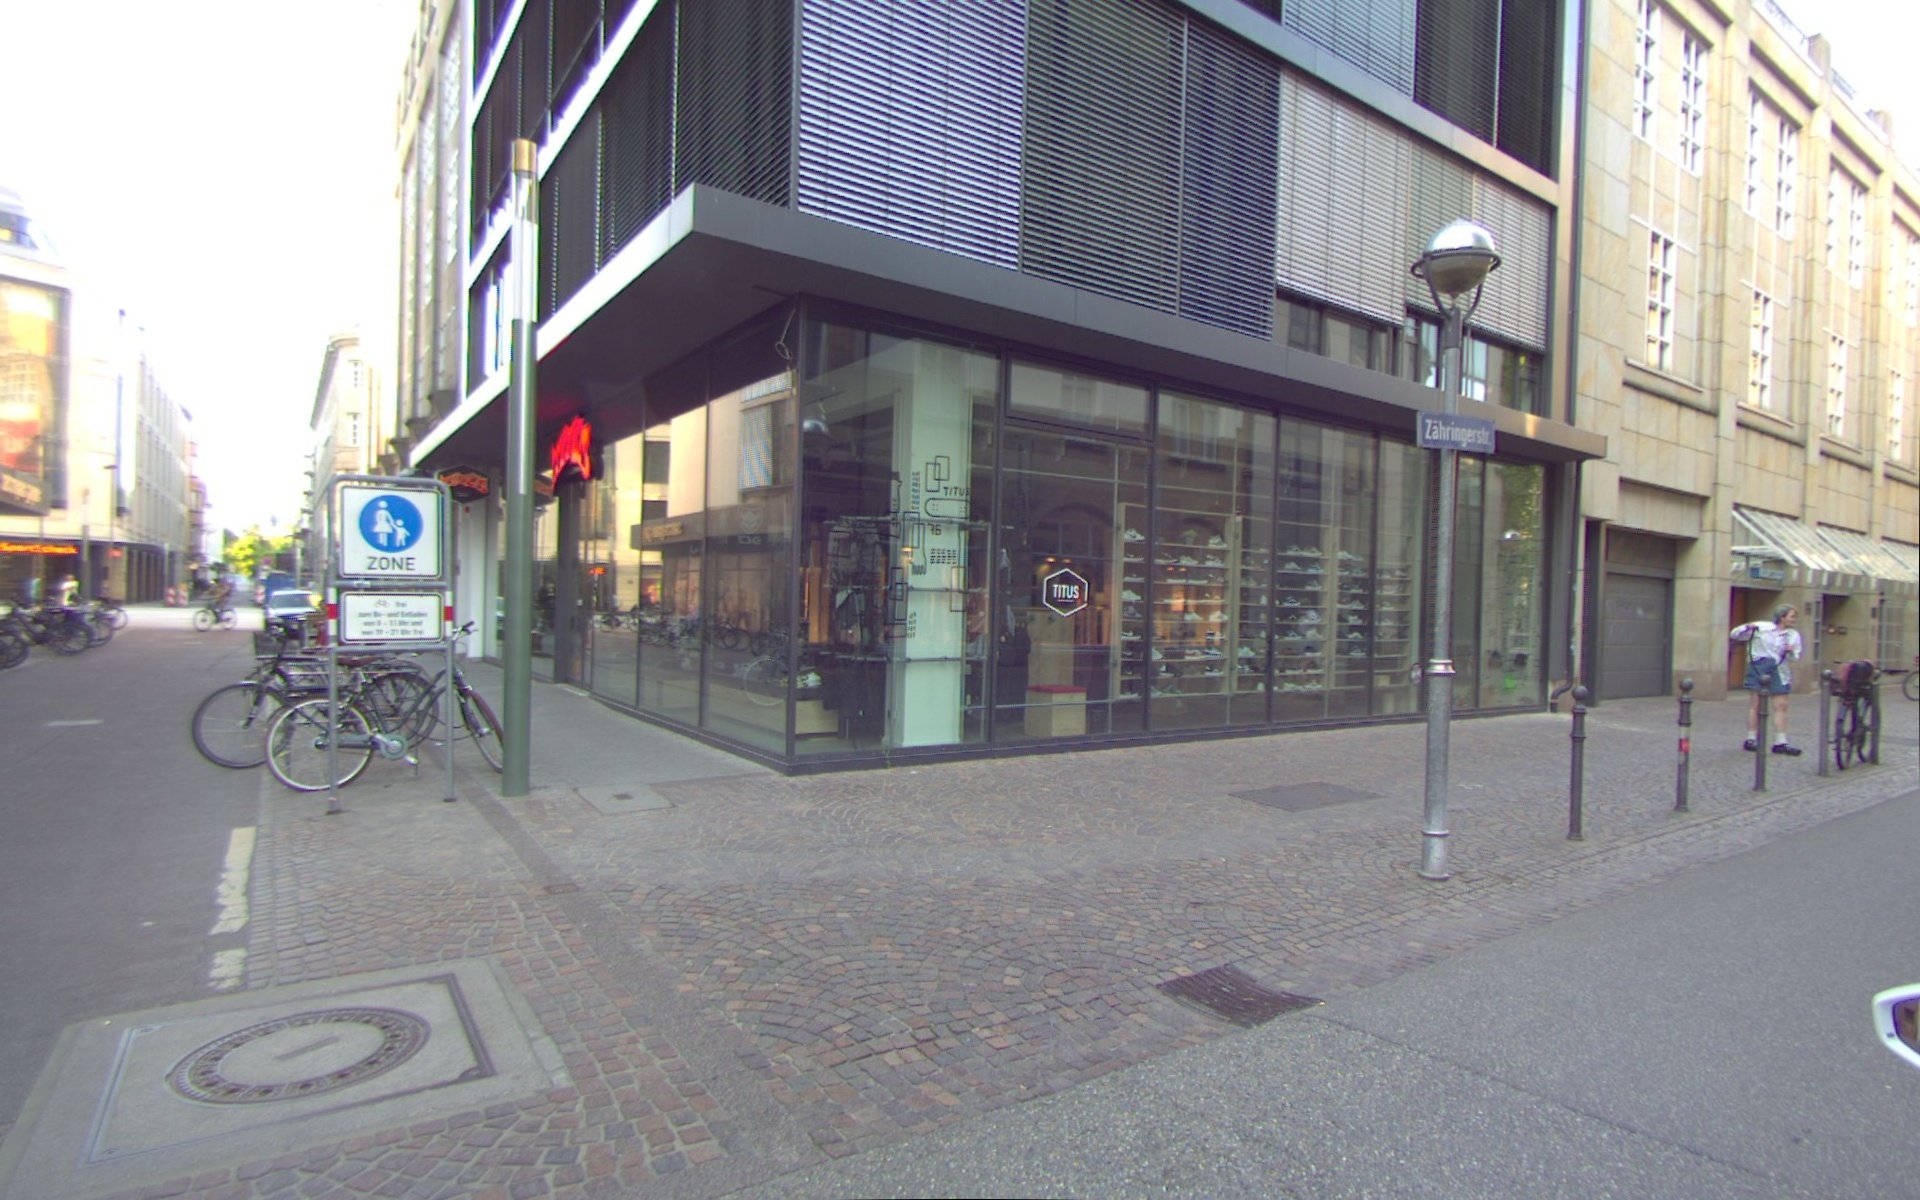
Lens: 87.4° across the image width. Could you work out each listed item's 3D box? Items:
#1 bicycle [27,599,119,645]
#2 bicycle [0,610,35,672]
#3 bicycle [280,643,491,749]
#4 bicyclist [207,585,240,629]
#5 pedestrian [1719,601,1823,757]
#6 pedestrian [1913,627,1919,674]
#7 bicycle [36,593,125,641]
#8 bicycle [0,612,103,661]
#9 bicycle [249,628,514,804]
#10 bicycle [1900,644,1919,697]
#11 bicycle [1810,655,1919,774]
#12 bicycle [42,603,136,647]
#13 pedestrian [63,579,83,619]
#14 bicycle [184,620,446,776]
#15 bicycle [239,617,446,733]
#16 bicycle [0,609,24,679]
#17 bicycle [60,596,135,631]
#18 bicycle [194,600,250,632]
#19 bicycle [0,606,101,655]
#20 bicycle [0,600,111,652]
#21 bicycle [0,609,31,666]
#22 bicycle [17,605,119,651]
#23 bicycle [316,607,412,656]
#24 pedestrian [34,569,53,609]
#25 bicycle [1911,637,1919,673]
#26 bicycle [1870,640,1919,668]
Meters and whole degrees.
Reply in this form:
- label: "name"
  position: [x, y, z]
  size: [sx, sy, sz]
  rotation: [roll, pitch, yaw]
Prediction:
- label: "bicycle"
  position: [-22.939, 0.569, 26.009]
  size: [1.717, 1.161, 0.461]
  rotation: [1, 0, -37]
- label: "bicycle"
  position: [-16.916, 0.694, 17.188]
  size: [1.541, 1.051, 0.461]
  rotation: [1, 0, -37]
- label: "bicycle"
  position: [-5.660, 0.916, 9.963]
  size: [1.776, 0.907, 0.449]
  rotation: [0, 1, -37]
- label: "bicyclist"
  position: [-24.860, 0.227, 33.919]
  size: [0.563, 1.467, 0.736]
  rotation: [1, 1, 0]
- label: "pedestrian"
  position: [9.539, 0.901, 11.826]
  size: [0.586, 1.741, 0.762]
  rotation: [1, 2, -36]
- label: "pedestrian"
  position: [30.596, 1.597, 31.825]
  size: [0.468, 1.491, 0.413]
  rotation: [1, 0, 33]
- label: "bicycle"
  position: [-23.391, 0.460, 26.750]
  size: [1.717, 1.245, 0.461]
  rotation: [1, 0, -37]
- label: "bicycle"
  position: [-19.085, 0.755, 20.848]
  size: [1.926, 0.969, 0.461]
  rotation: [2, 0, -37]
- label: "bicycle"
  position: [-4.313, 0.800, 7.535]
  size: [1.658, 1.128, 0.702]
  rotation: [0, 1, -36]
- label: "bicycle"
  position: [21.857, 1.575, 22.428]
  size: [1.737, 1.153, 0.521]
  rotation: [1, 0, -20]
- label: "bicycle"
  position: [10.107, 1.227, 11.143]
  size: [1.895, 1.169, 0.529]
  rotation: [2, 2, -35]
- label: "bicycle"
  position: [-21.796, 0.627, 25.171]
  size: [1.717, 1.065, 0.461]
  rotation: [1, 0, -37]
- label: "pedestrian"
  position: [-36.092, -0.038, 40.875]
  size: [0.372, 1.594, 0.478]
  rotation: [1, 0, 4]
- label: "bicycle"
  position: [-5.455, 0.776, 8.583]
  size: [1.824, 1.165, 0.603]
  rotation: [0, 1, -36]
- label: "bicycle"
  position: [-6.722, 0.777, 10.991]
  size: [1.893, 1.160, 0.551]
  rotation: [0, 1, -37]
- label: "bicycle"
  position: [-15.907, 0.685, 15.750]
  size: [1.712, 1.106, 0.543]
  rotation: [1, 0, -37]
- label: "bicycle"
  position: [-26.989, 0.433, 31.466]
  size: [1.717, 1.076, 0.432]
  rotation: [1, 0, -37]
- label: "bicycle"
  position: [-24.862, 0.527, 33.861]
  size: [0.572, 1.028, 1.793]
  rotation: [1, 0, 0]
- label: "bicycle"
  position: [-19.845, 0.667, 21.782]
  size: [1.778, 1.021, 0.526]
  rotation: [1, 0, -37]
- label: "bicycle"
  position: [-20.658, 0.598, 22.984]
  size: [1.831, 1.151, 0.461]
  rotation: [1, 0, -37]
- label: "bicycle"
  position: [-17.794, 0.679, 18.129]
  size: [1.442, 1.019, 0.461]
  rotation: [1, 0, -37]
- label: "bicycle"
  position: [-21.340, 0.679, 24.072]
  size: [1.760, 1.065, 0.461]
  rotation: [1, 0, -37]
- label: "bicycle"
  position: [-13.012, 0.670, 21.966]
  size: [1.776, 1.028, 0.364]
  rotation: [0, 1, -37]
- label: "pedestrian"
  position: [-36.373, -0.421, 39.860]
  size: [0.428, 1.573, 0.476]
  rotation: [1, 0, 39]
- label: "bicycle"
  position: [34.355, 1.941, 34.918]
  size: [1.807, 1.241, 0.533]
  rotation: [0, -1, 32]
- label: "bicycle"
  position: [37.492, 2.144, 39.987]
  size: [1.799, 1.056, 0.533]
  rotation: [0, -1, 32]
